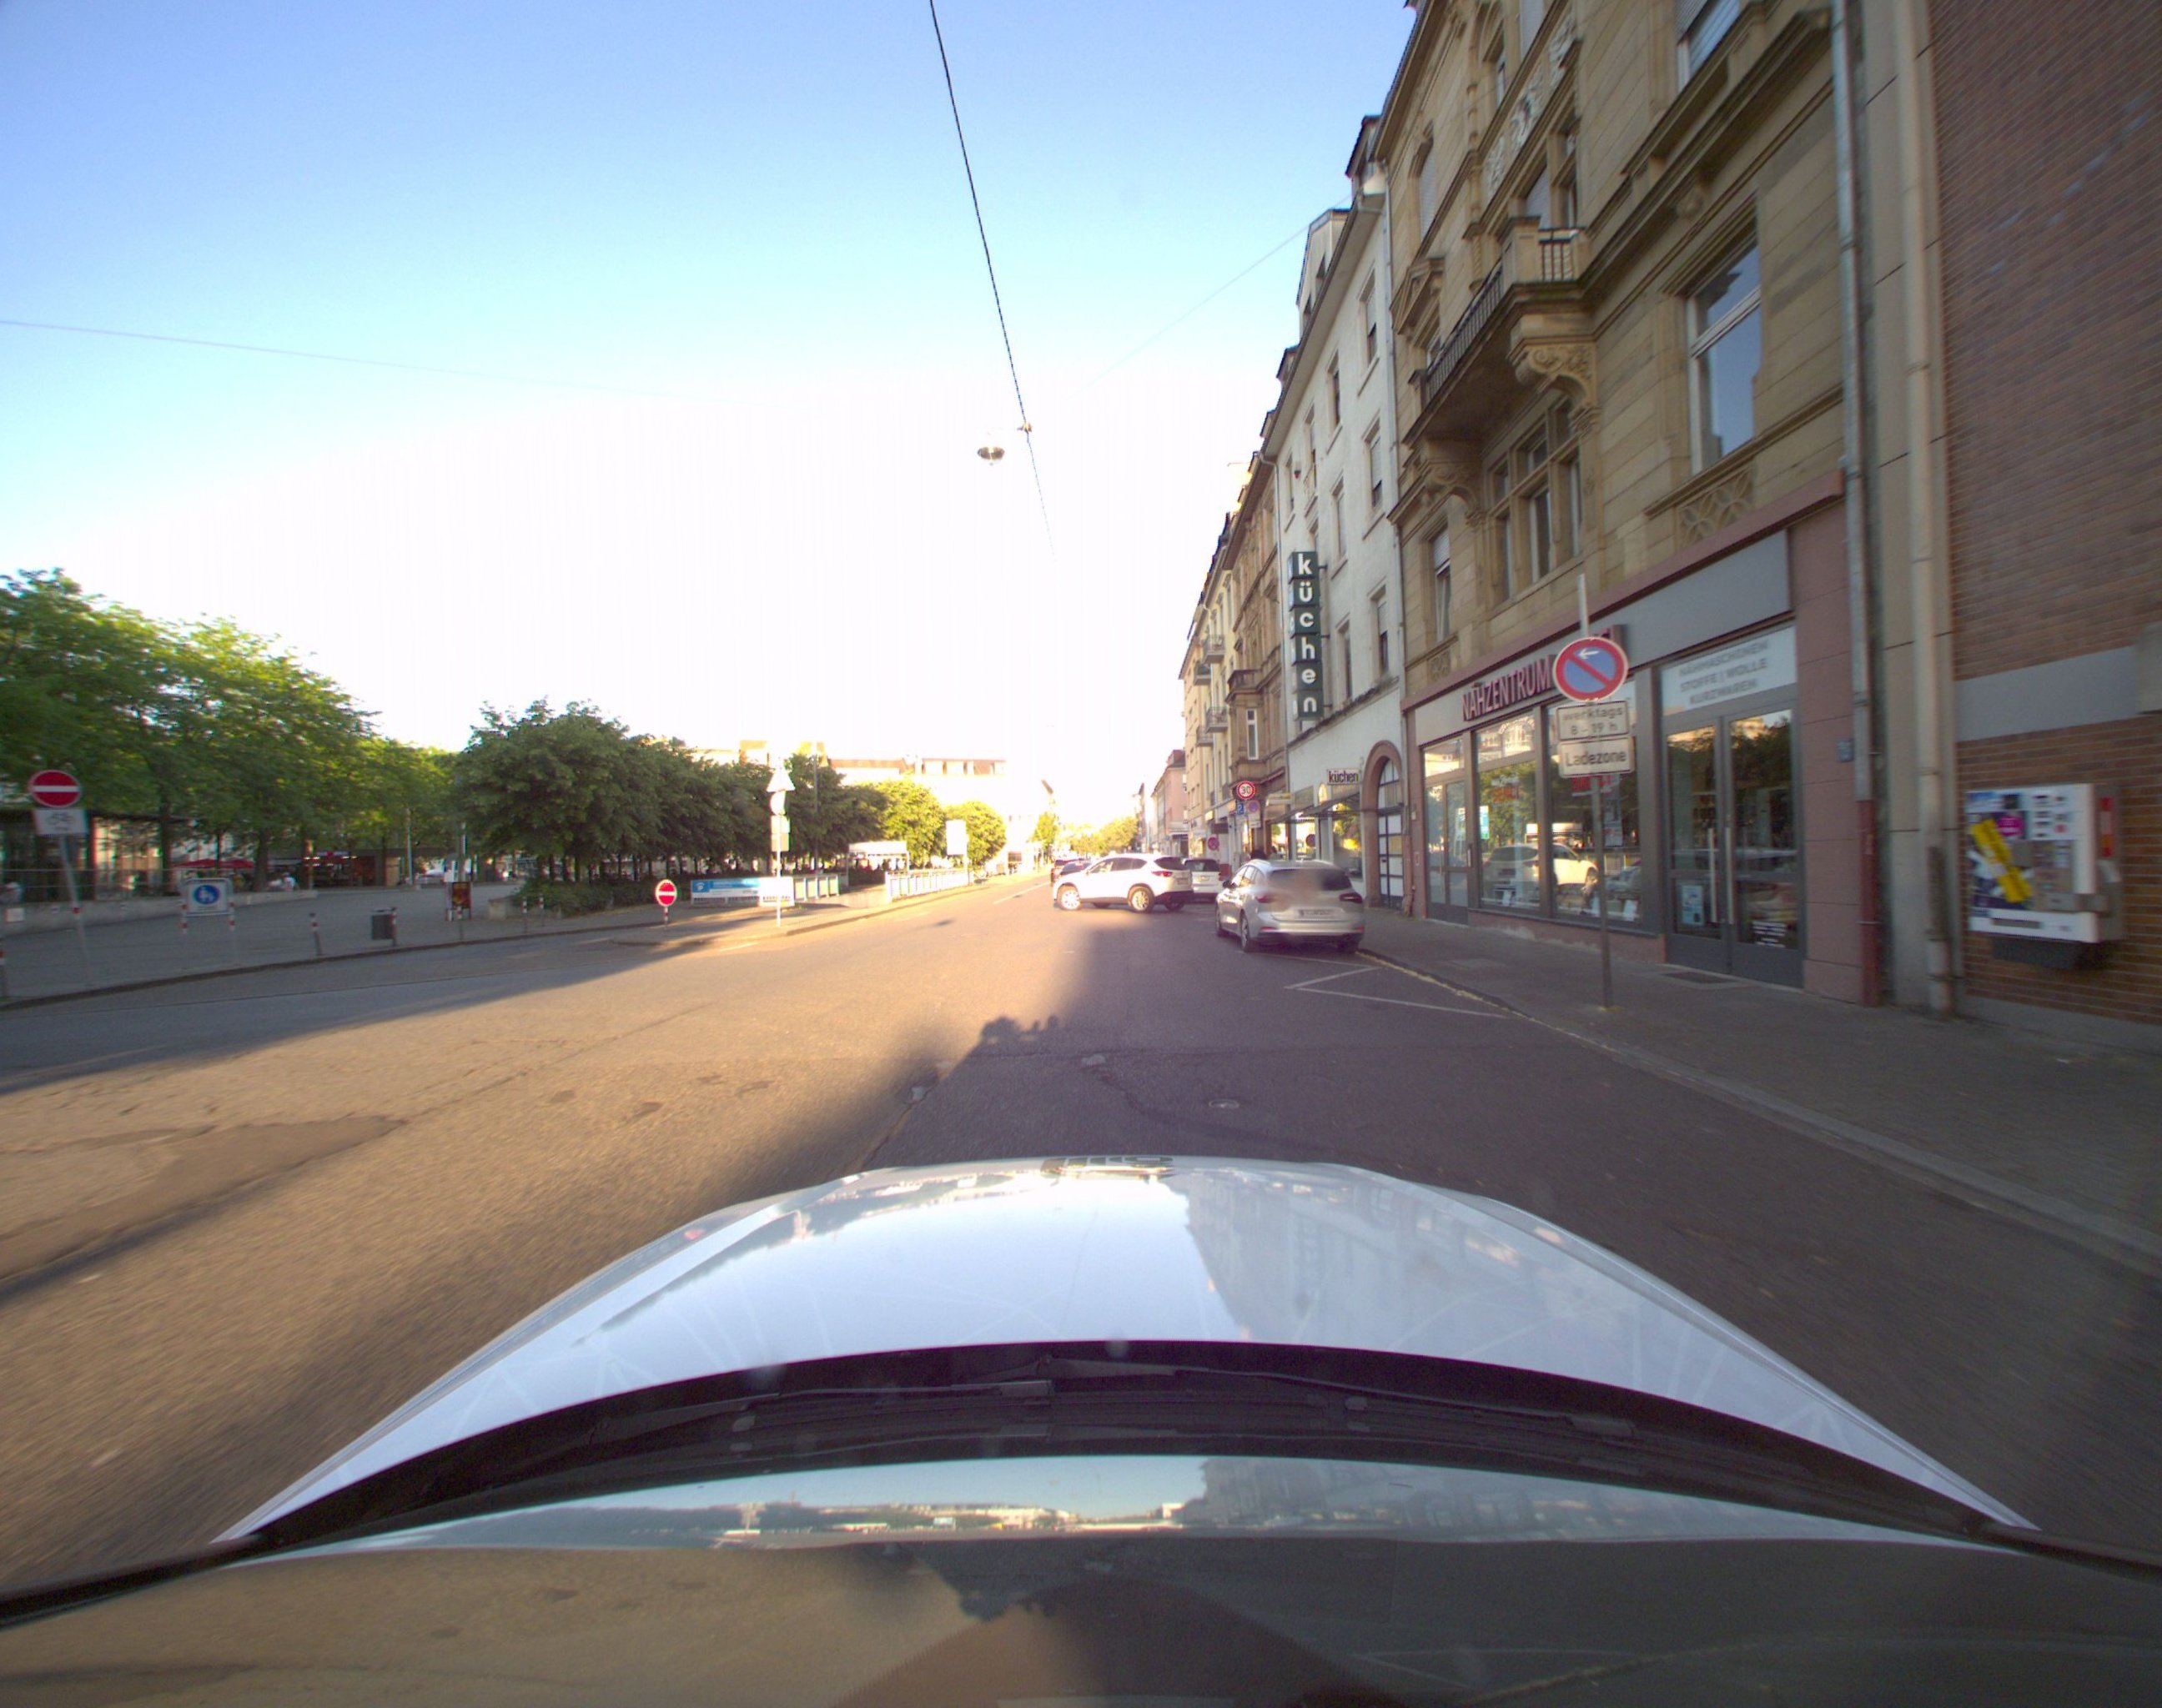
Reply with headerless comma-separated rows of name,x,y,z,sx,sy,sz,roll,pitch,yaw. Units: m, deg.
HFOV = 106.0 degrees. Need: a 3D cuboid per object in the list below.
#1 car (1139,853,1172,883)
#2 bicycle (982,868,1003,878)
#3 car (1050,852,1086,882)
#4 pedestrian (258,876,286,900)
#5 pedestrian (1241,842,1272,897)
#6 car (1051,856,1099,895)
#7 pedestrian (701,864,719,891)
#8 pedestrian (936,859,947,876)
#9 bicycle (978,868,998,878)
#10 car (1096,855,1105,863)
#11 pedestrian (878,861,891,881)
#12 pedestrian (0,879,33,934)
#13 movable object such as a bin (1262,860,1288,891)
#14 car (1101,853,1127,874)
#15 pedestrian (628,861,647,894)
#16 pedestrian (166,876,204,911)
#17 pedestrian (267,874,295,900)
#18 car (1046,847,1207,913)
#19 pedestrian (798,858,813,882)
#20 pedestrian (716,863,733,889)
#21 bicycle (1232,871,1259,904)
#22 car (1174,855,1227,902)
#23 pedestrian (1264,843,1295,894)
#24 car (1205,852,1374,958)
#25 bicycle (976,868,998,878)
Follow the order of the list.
car,4.362,0.822,48.260,1.723,1.651,4.287,0,-1,2
bicycle,-7.951,1.702,73.123,1.820,0.853,0.483,1,-1,-2
car,-0.733,0.751,47.937,1.890,1.649,4.105,-1,0,1
pedestrian,-36.699,1.546,36.955,0.716,1.059,0.606,-1,0,-23
pedestrian,6.100,0.525,28.330,0.770,1.827,1.011,-3,0,1
car,-0.196,0.870,35.020,1.890,1.581,4.001,0,0,1
pedestrian,-21.857,1.391,47.963,0.783,1.595,0.571,-1,-1,21
pedestrian,-12.819,1.231,74.816,0.783,1.595,0.571,-1,-1,21
bicycle,-8.458,1.699,74.048,1.820,0.853,0.483,1,-1,-2
car,4.057,0.978,170.509,1.773,1.547,4.001,-1,0,1
pedestrian,-15.778,1.335,65.273,0.783,1.595,0.571,-1,-1,21
pedestrian,-31.687,1.556,23.979,0.792,1.586,0.649,-1,-2,-23
movable object such as a bin,7.183,0.787,30.204,0.771,1.070,0.618,-4,-1,1
car,2.521,0.699,62.852,1.890,1.581,4.001,0,0,1
pedestrian,-22.036,1.164,40.469,0.703,1.595,0.673,-1,-1,-16
pedestrian,-34.782,1.530,31.612,0.792,1.279,0.649,-1,-2,-23
pedestrian,-36.995,1.520,37.661,0.716,1.120,0.606,-1,0,-23
car,1.290,0.752,24.279,4.408,1.761,2.013,-2,-1,41
pedestrian,-18.483,1.066,54.681,0.672,1.595,0.680,-1,-1,21
pedestrian,-22.286,1.398,50.955,0.783,1.595,0.571,-1,-1,21
bicycle,5.420,1.093,26.865,0.502,1.016,1.947,-2,0,1
car,4.105,0.838,28.392,1.525,1.536,3.286,-1,-1,3
pedestrian,6.901,0.498,28.331,0.770,1.711,1.042,-3,0,1
car,3.397,0.778,14.262,1.753,1.536,4.820,0,-1,0
bicycle,-8.239,1.689,71.326,1.820,0.853,0.483,1,-1,-2
